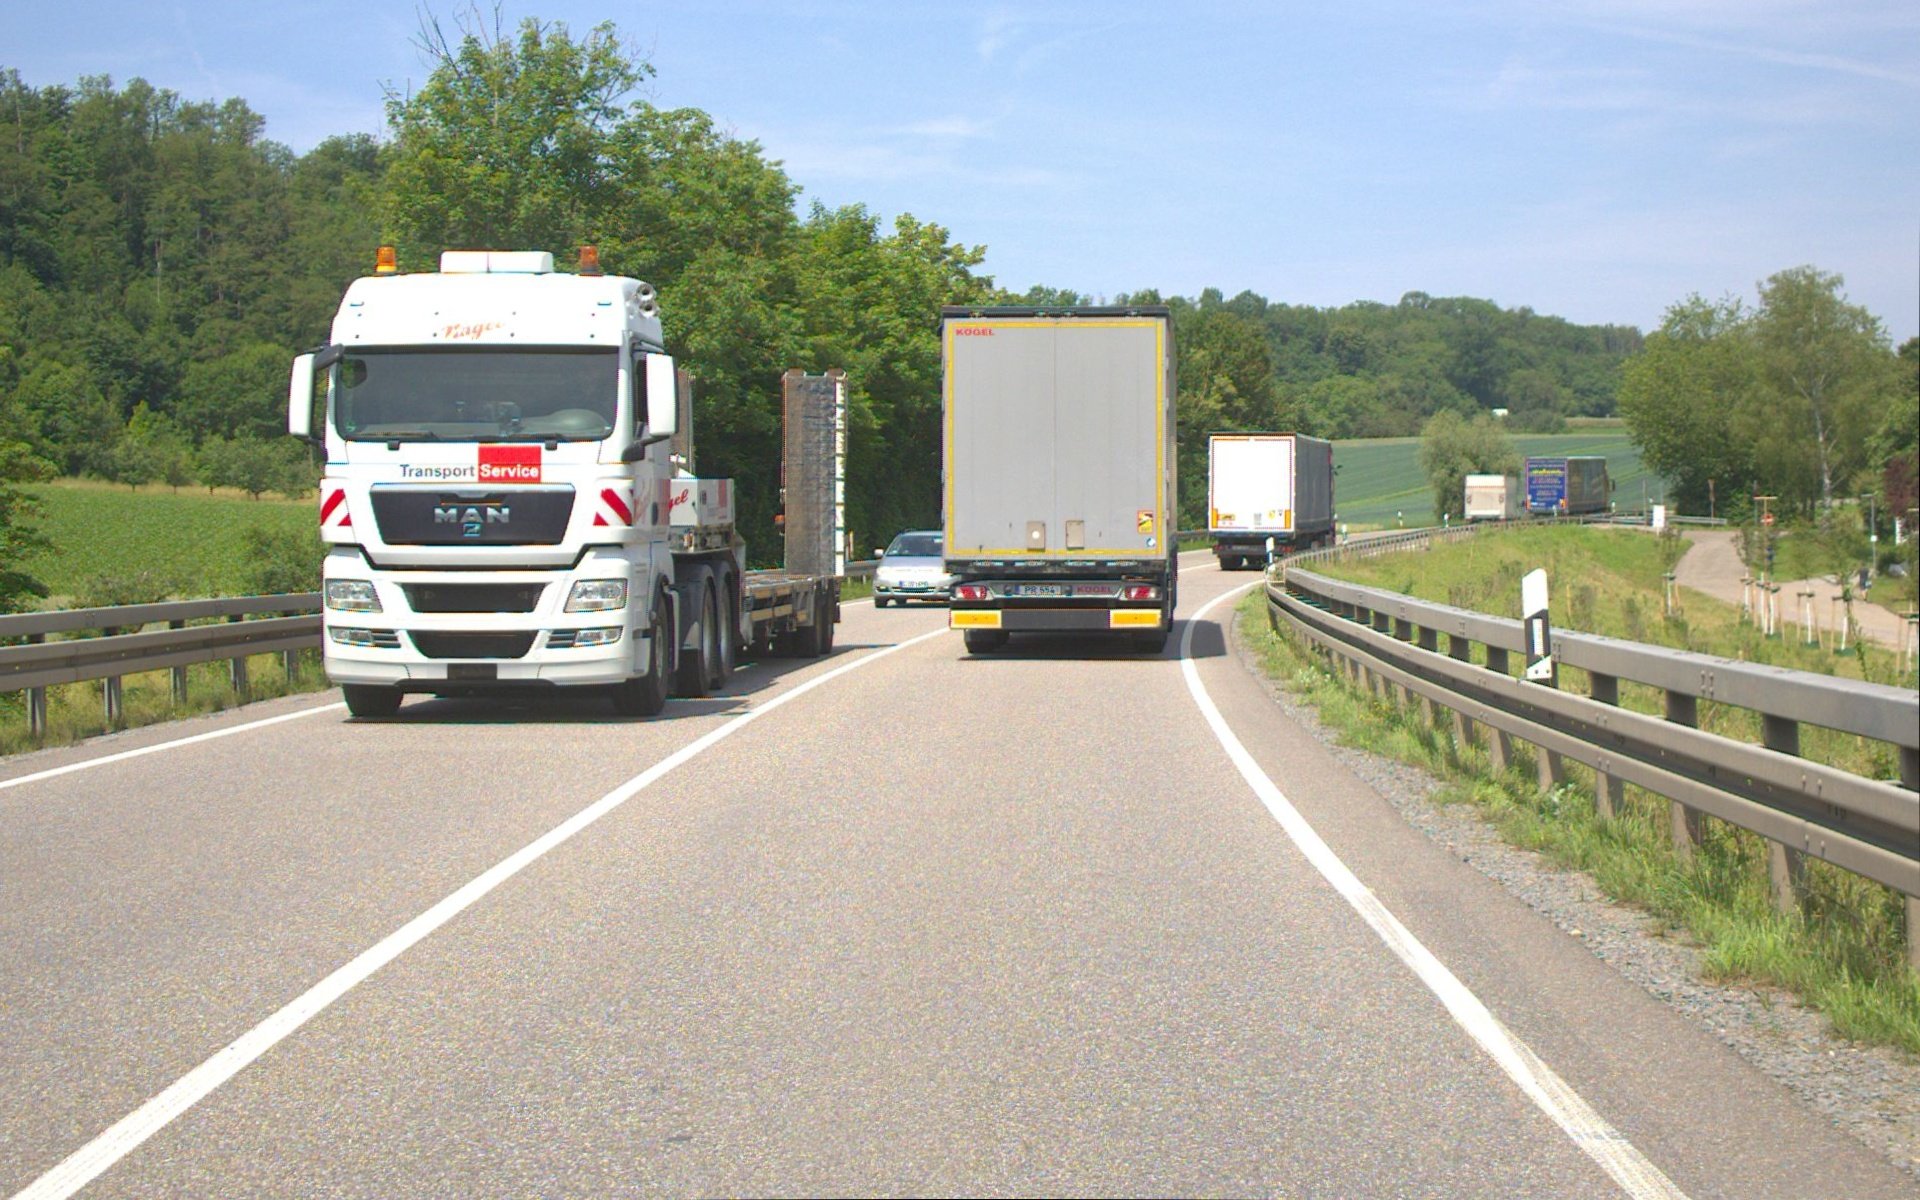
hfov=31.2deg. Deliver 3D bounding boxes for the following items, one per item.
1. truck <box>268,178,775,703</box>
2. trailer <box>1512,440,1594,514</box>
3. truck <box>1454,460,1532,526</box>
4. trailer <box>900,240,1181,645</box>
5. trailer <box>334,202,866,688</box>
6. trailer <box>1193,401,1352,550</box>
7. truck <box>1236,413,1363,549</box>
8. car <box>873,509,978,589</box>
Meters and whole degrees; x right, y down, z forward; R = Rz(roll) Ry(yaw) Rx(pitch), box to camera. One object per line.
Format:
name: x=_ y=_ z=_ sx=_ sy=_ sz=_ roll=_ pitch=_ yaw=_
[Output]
truck: x=-3.499 y=-1.295 z=29.333 sx=3.118 sy=3.944 sz=6.622 roll=0 pitch=2 yaw=3
trailer: x=36.060 y=-7.401 z=208.585 sx=3.651 sy=4.248 sz=12.186 roll=0 pitch=1 yaw=16
truck: x=28.964 y=-5.747 z=186.446 sx=3.225 sy=3.354 sz=11.868 roll=0 pitch=1 yaw=14
trailer: x=1.283 y=-1.981 z=45.124 sx=3.118 sy=4.484 sz=13.886 roll=0 pitch=2 yaw=3
trailer: x=-3.169 y=-1.487 z=35.886 sx=3.118 sy=3.966 sz=15.356 roll=0 pitch=2 yaw=3
trailer: x=9.791 y=-3.703 z=106.064 sx=3.367 sy=4.302 sz=13.858 roll=0 pitch=1 yaw=12
truck: x=11.169 y=-3.837 z=112.631 sx=3.367 sy=4.302 sz=6.737 roll=0 pitch=1 yaw=12
car: x=-0.629 y=-0.991 z=66.081 sx=1.768 sy=1.489 sz=4.170 roll=0 pitch=1 yaw=3
